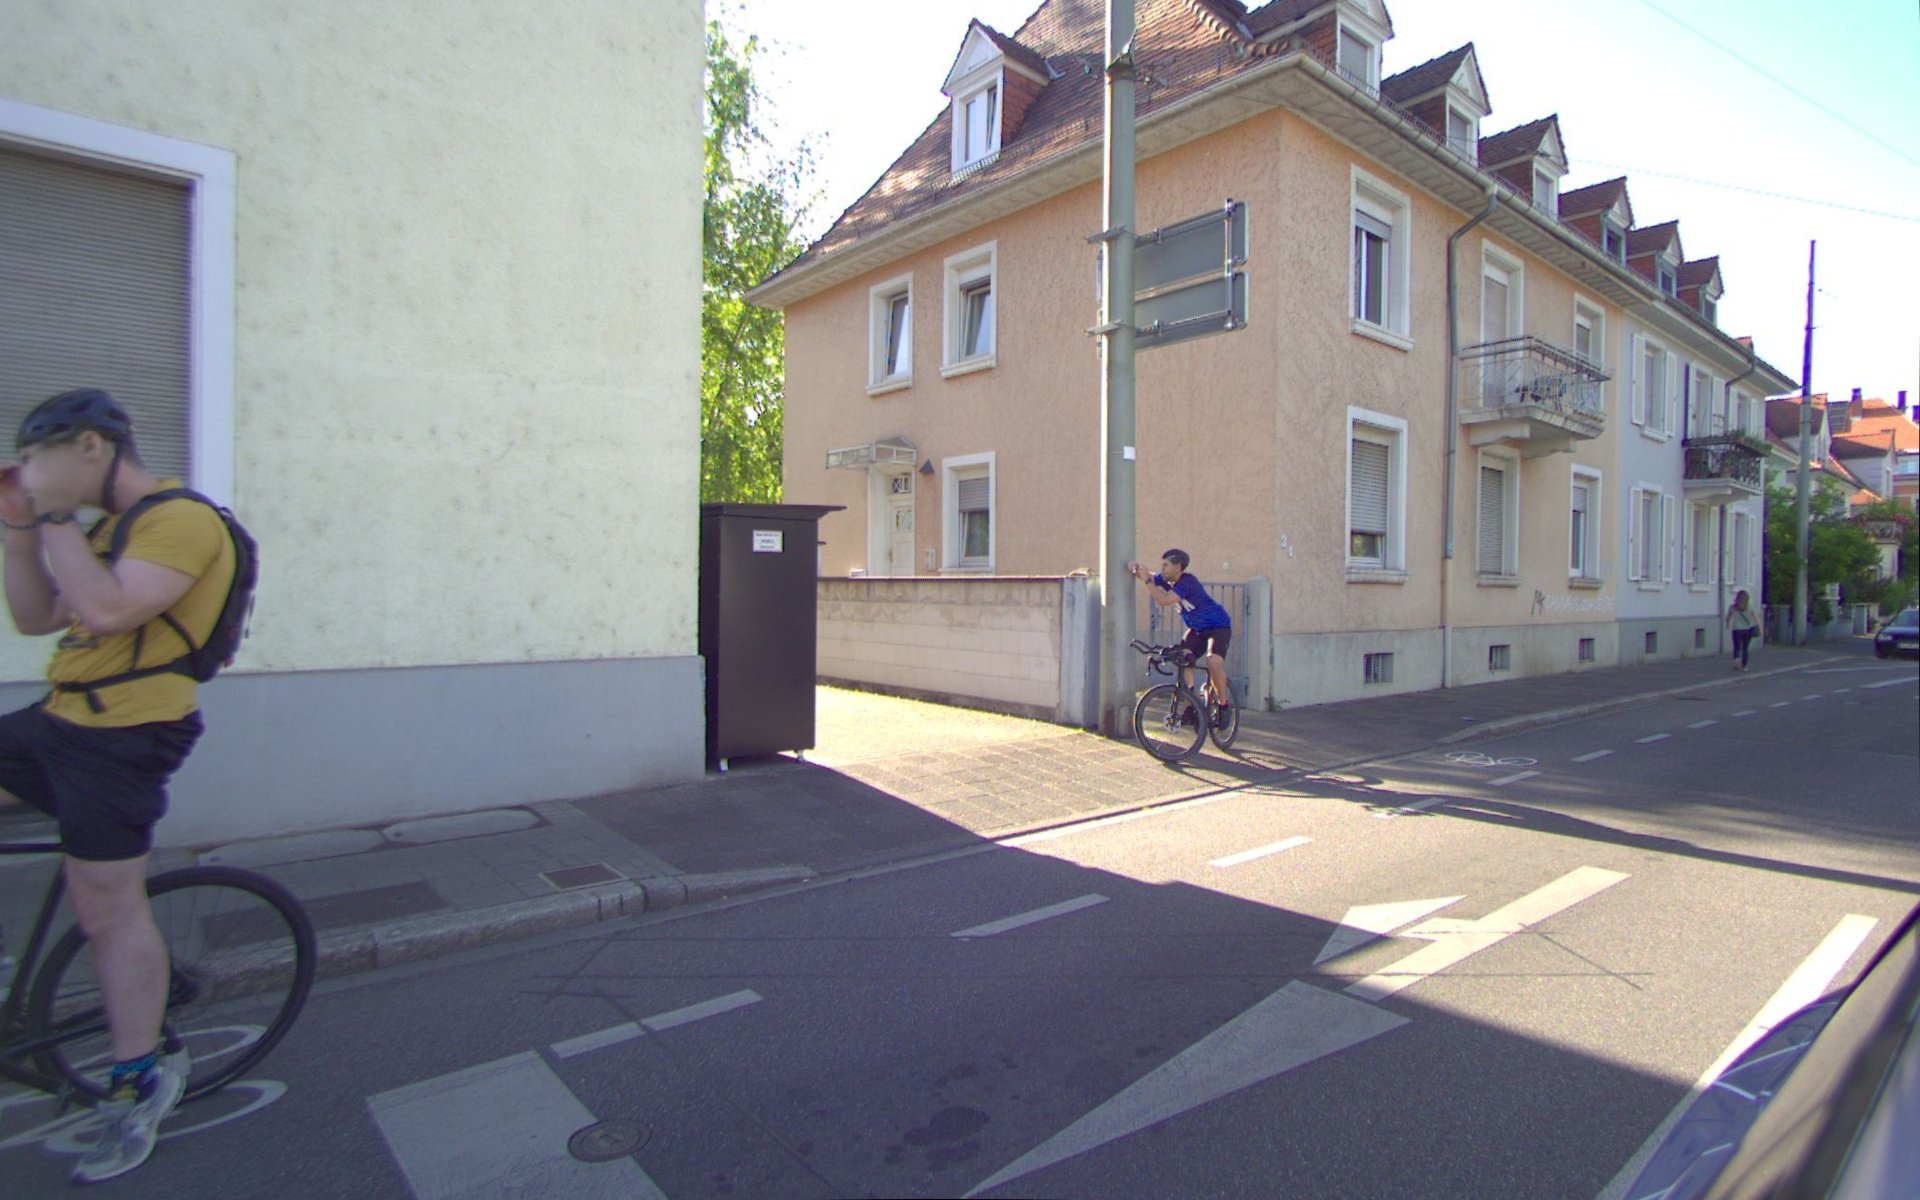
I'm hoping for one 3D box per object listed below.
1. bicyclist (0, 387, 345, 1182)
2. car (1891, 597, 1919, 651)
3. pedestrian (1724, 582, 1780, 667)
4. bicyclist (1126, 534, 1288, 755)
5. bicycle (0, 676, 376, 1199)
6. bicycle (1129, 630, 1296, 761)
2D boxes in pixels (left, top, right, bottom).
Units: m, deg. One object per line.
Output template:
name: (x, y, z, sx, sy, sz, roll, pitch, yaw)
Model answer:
bicyclist: (-2.295, 0.422, 2.701, 1.018, 1.840, 0.653, 0, 1, -41)
car: (26.704, 0.629, 27.344, 3.796, 1.382, 1.648, 0, 1, -38)
pedestrian: (16.119, 0.474, 20.591, 1.079, 1.682, 0.694, 0, 0, -41)
bicyclist: (2.289, 0.361, 9.435, 0.831, 1.887, 1.076, 0, 4, -40)
bicycle: (-2.471, 0.845, 2.536, 1.669, 1.180, 0.572, 0, 1, -41)
bicycle: (2.322, 0.818, 9.210, 1.669, 1.003, 0.572, 0, 4, -41)
